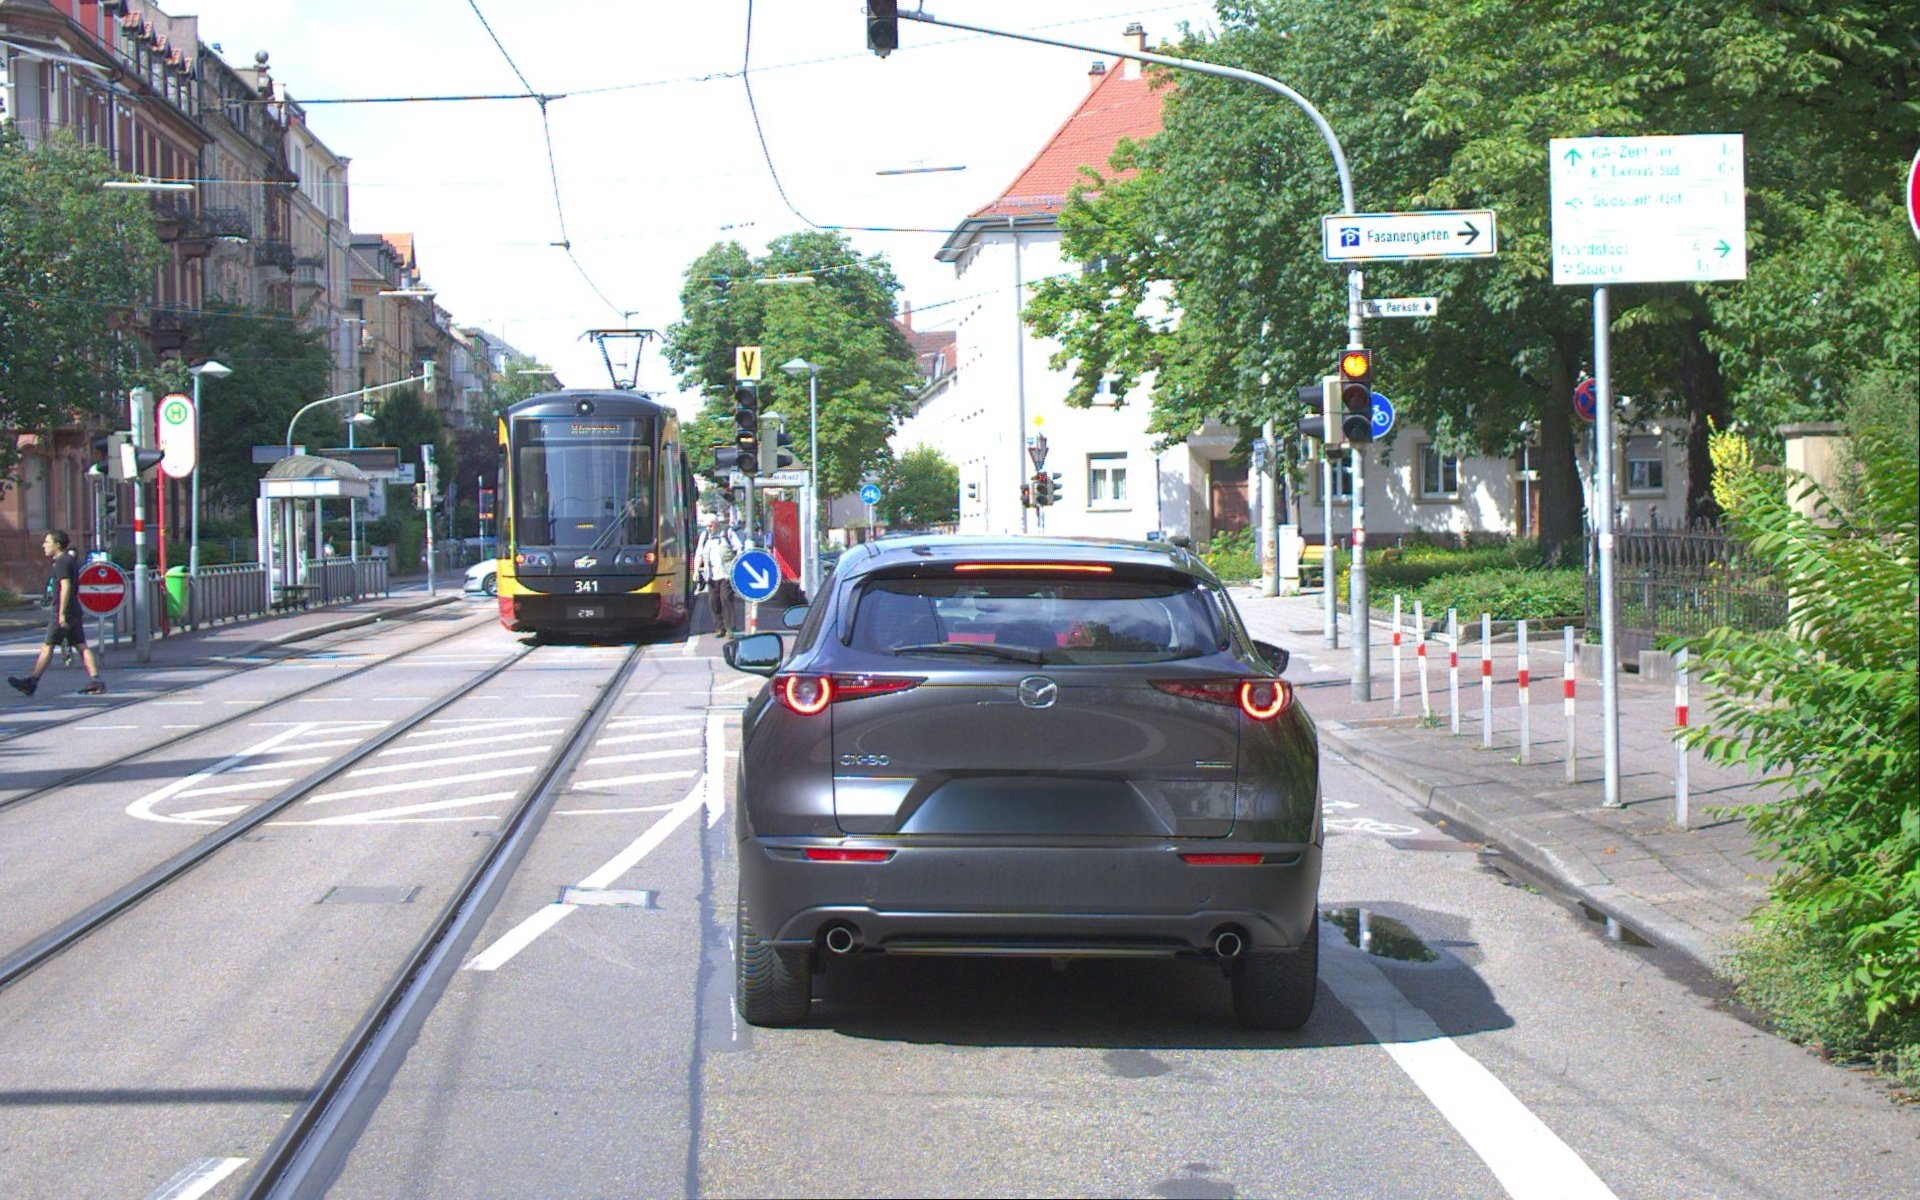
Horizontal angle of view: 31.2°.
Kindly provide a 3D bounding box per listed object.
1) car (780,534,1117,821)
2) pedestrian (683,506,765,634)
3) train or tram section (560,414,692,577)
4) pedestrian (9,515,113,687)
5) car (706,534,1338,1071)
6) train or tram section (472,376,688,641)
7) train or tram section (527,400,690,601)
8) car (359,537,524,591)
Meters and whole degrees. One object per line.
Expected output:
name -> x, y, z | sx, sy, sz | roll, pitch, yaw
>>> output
car -> -0.087, 0.378, 20.456 | 1.778, 1.494, 4.000 | 1, 1, -1
pedestrian -> -3.180, -0.411, 46.309 | 0.823, 1.699, 0.717 | 0, 1, 40
train or tram section -> -7.776, -2.526, 81.534 | 2.752, 3.478, 14.411 | -1, 2, -4
pedestrian -> -8.905, 0.006, 34.082 | 0.751, 1.678, 0.700 | -1, 1, 9
car -> 0.150, 0.543, 11.850 | 1.778, 1.494, 4.000 | 1, 1, -1
train or tram section -> -5.610, -1.481, 52.819 | 2.752, 3.478, 14.411 | -1, 2, -4
train or tram section -> -6.693, -2.004, 67.162 | 2.752, 3.478, 14.411 | -1, 2, -4
car -> -13.350, -0.938, 88.679 | 3.987, 1.356, 1.678 | -1, 1, 0
